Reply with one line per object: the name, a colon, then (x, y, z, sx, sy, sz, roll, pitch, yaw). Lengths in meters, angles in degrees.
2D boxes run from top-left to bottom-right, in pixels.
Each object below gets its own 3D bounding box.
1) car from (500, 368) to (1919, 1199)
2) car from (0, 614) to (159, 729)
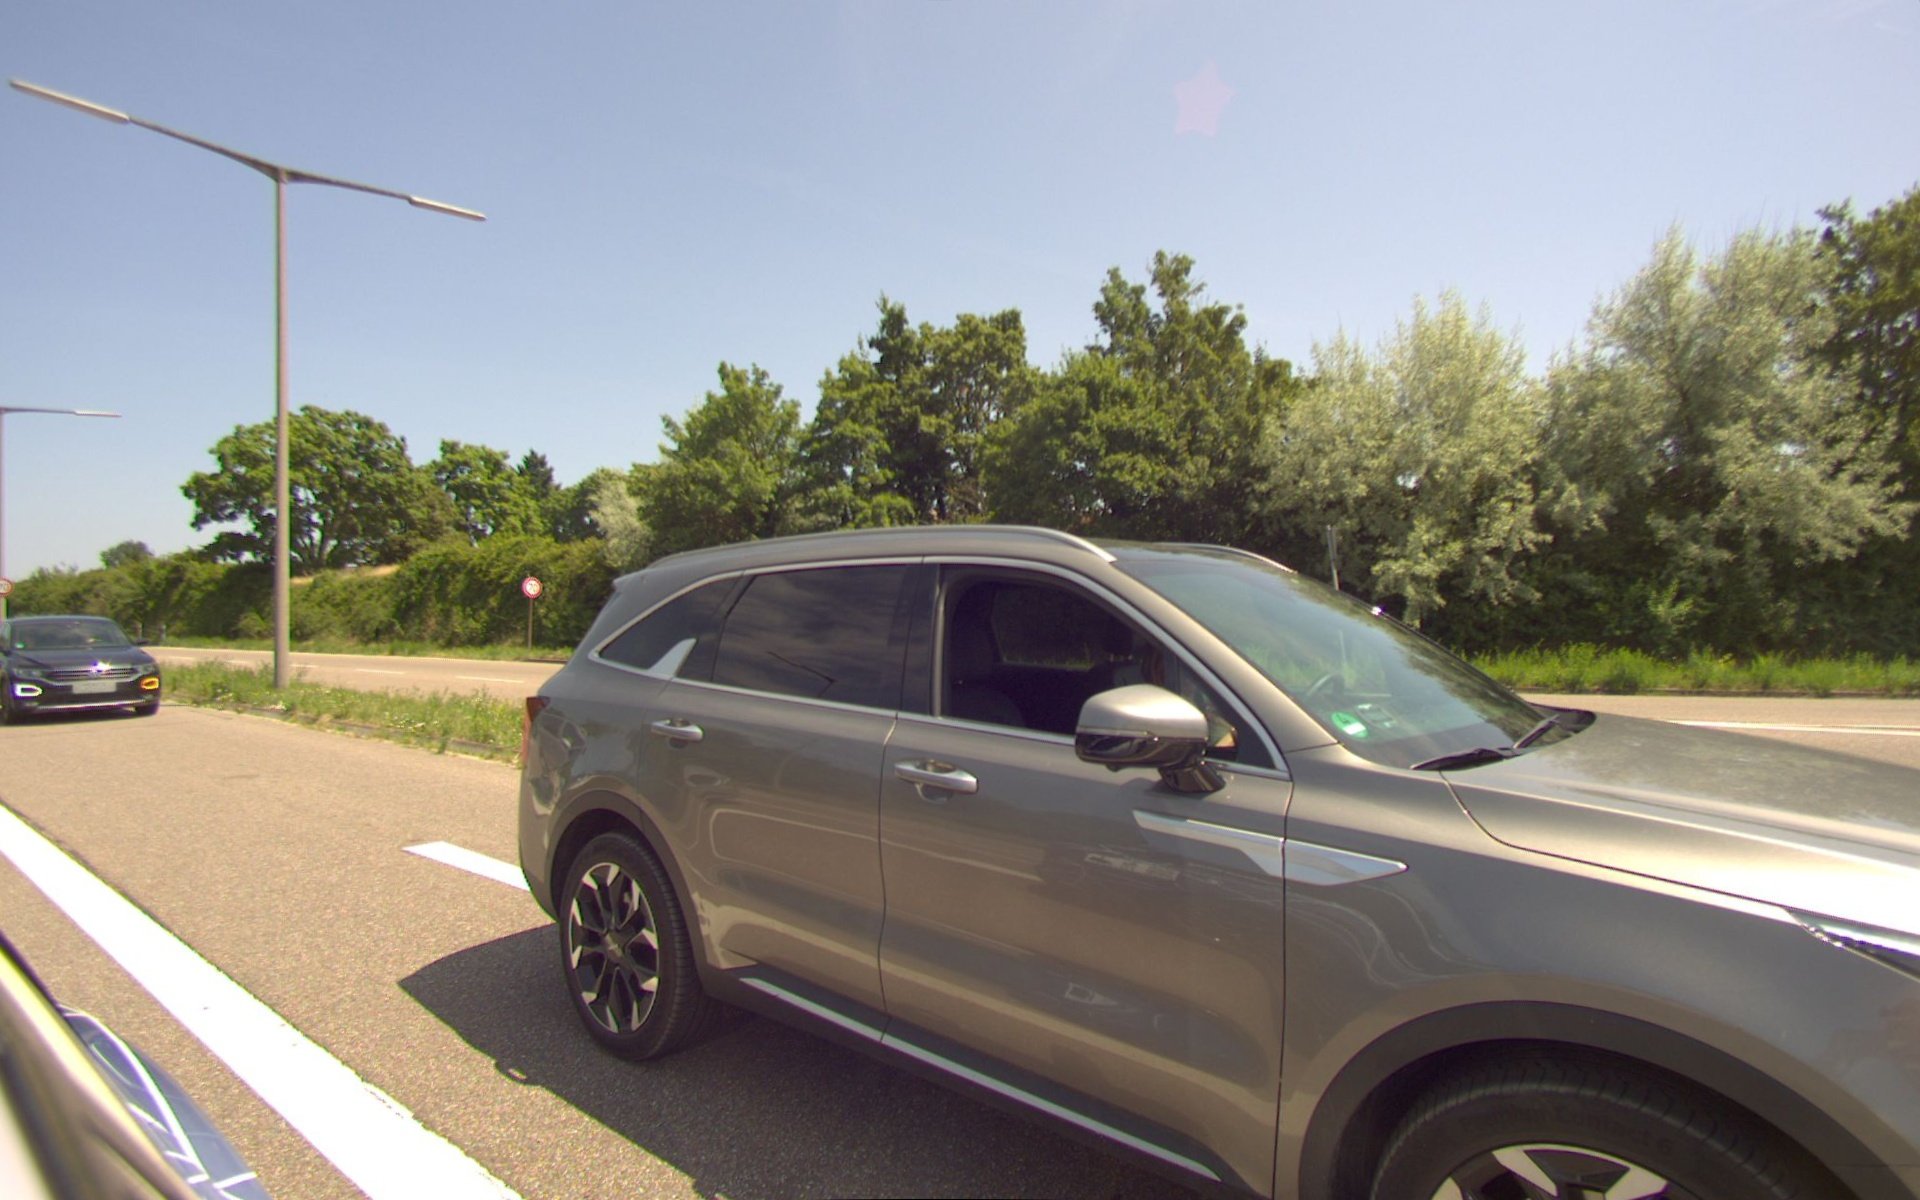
car: (0.579, 0.587, 2.974, 4.528, 1.681, 1.762, -2, -2, 40)
car: (-13.862, 1.006, 15.525, 3.997, 1.511, 1.731, -2, -1, 40)
